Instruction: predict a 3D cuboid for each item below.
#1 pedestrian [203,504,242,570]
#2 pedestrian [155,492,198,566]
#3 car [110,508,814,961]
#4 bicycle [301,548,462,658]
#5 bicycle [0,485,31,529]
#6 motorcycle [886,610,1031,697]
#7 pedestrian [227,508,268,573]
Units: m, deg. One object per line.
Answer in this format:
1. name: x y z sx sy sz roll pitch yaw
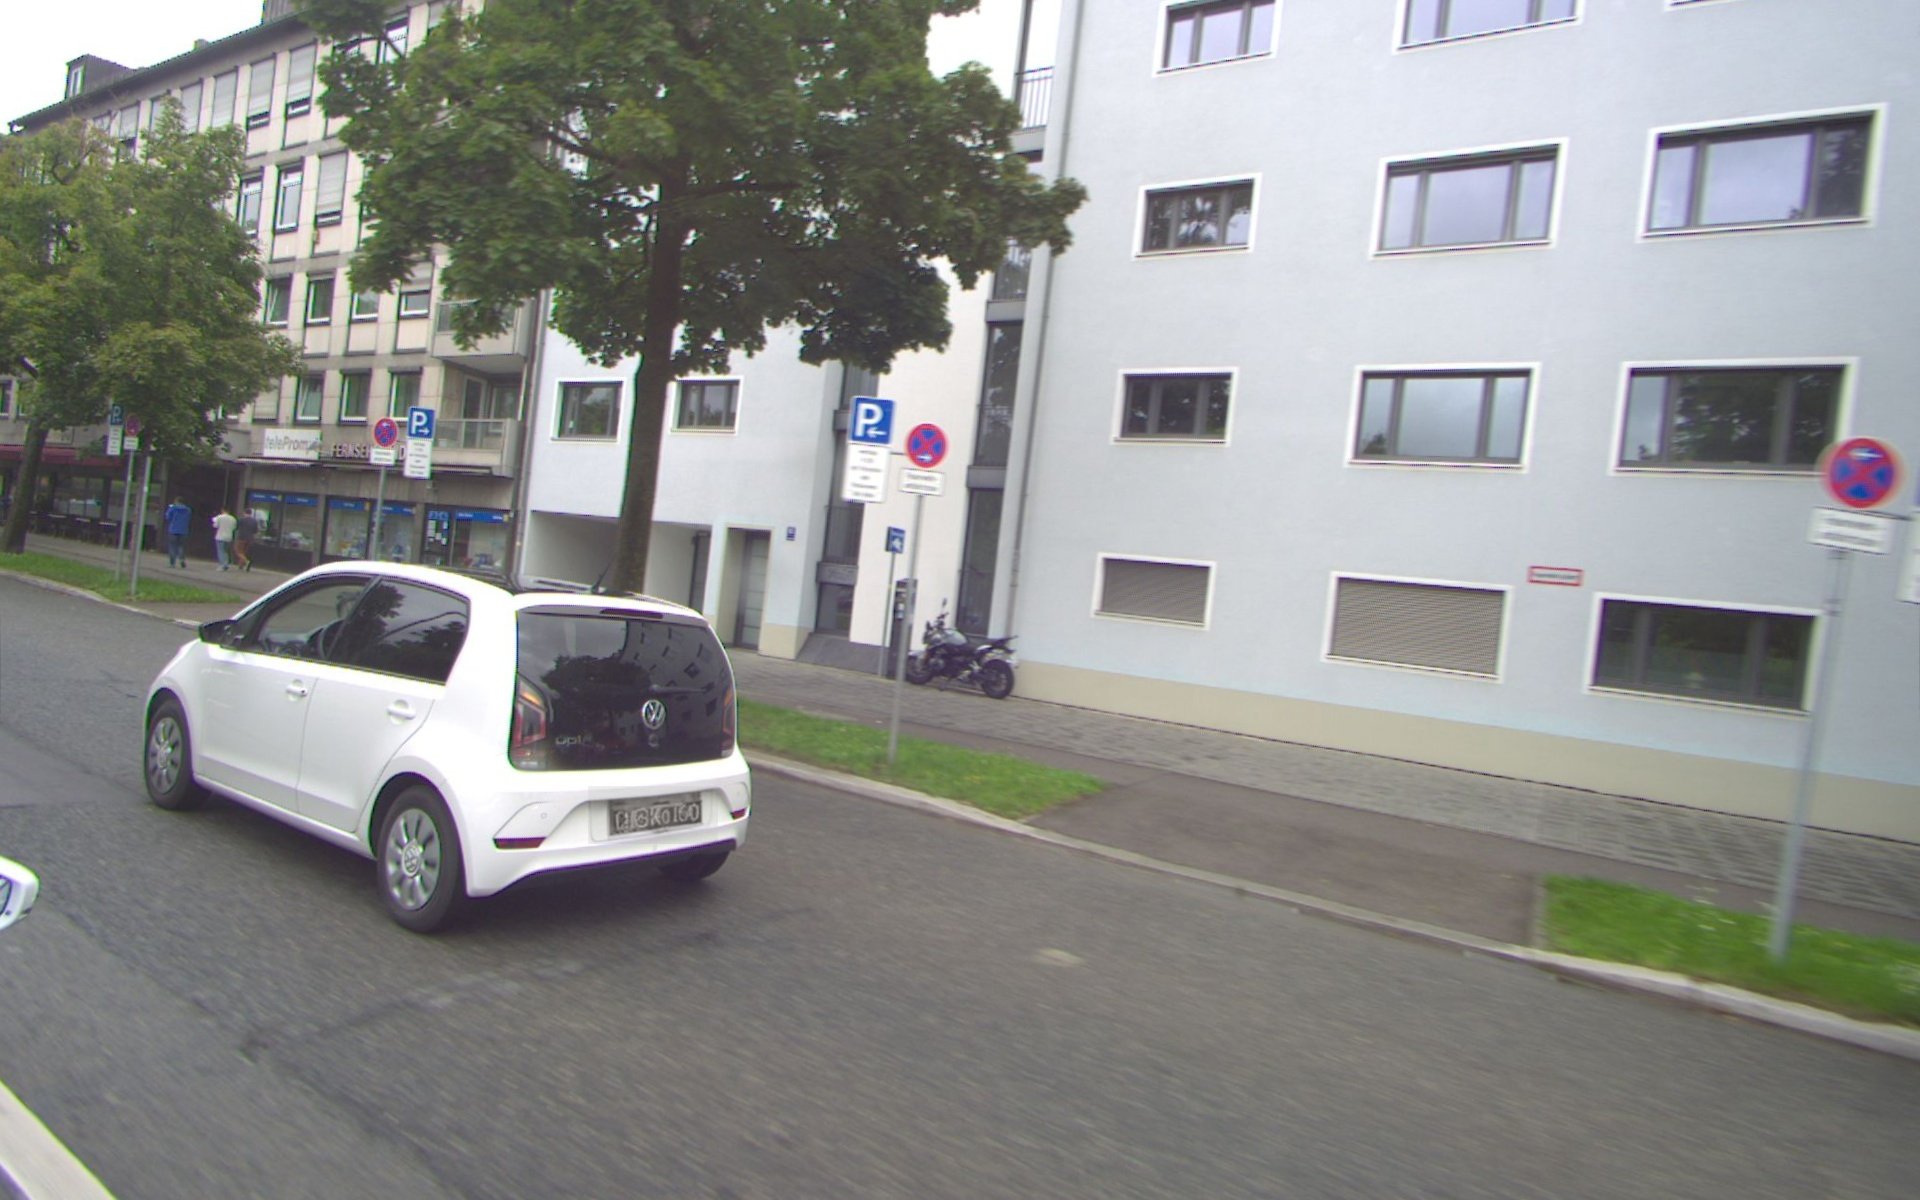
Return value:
1. pedestrian: -19.377 -1.646 26.436 0.630 1.651 0.549 7 2 31
2. pedestrian: -19.896 -1.801 25.551 0.720 1.755 0.500 7 1 32
3. car: -2.699 0.495 5.335 3.378 1.507 1.689 7 -1 32
4. bicycle: -8.130 0.037 14.133 2.108 1.271 0.456 7 1 13
5. bicycle: -35.349 -3.469 37.481 1.660 1.482 0.580 7 1 32
6. motorcycle: -0.044 0.846 16.218 2.163 1.099 0.762 7 1 32
7. pedestrian: -19.231 -1.611 27.153 0.712 1.661 0.542 7 1 31
